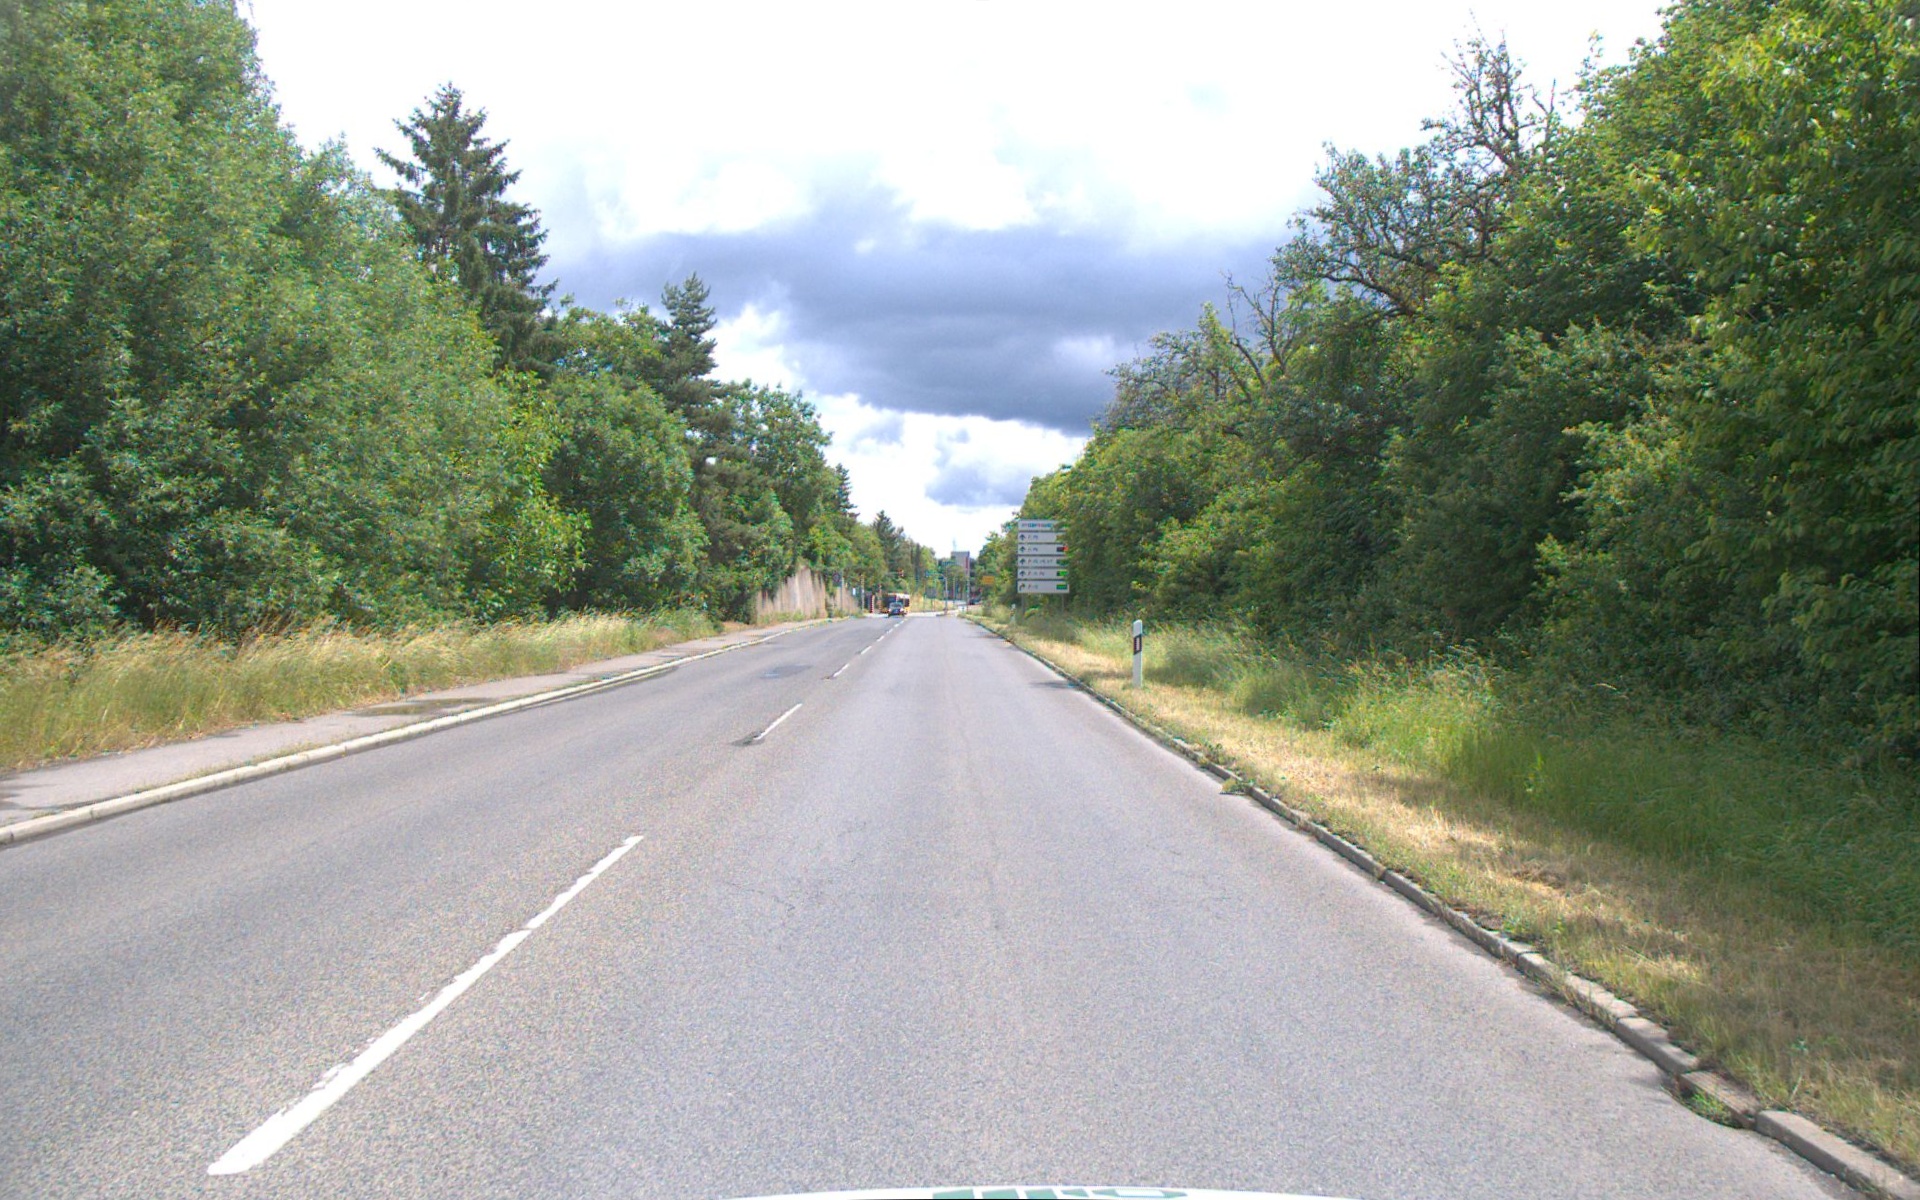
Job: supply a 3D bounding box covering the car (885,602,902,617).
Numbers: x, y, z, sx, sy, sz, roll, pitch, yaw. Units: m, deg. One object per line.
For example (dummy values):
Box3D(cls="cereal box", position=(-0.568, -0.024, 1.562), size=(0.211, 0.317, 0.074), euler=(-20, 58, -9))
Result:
Box3D(cls="car", position=(-7.017, 1.024, 175.335), size=(1.716, 1.489, 3.999), euler=(-1, 0, -1))
